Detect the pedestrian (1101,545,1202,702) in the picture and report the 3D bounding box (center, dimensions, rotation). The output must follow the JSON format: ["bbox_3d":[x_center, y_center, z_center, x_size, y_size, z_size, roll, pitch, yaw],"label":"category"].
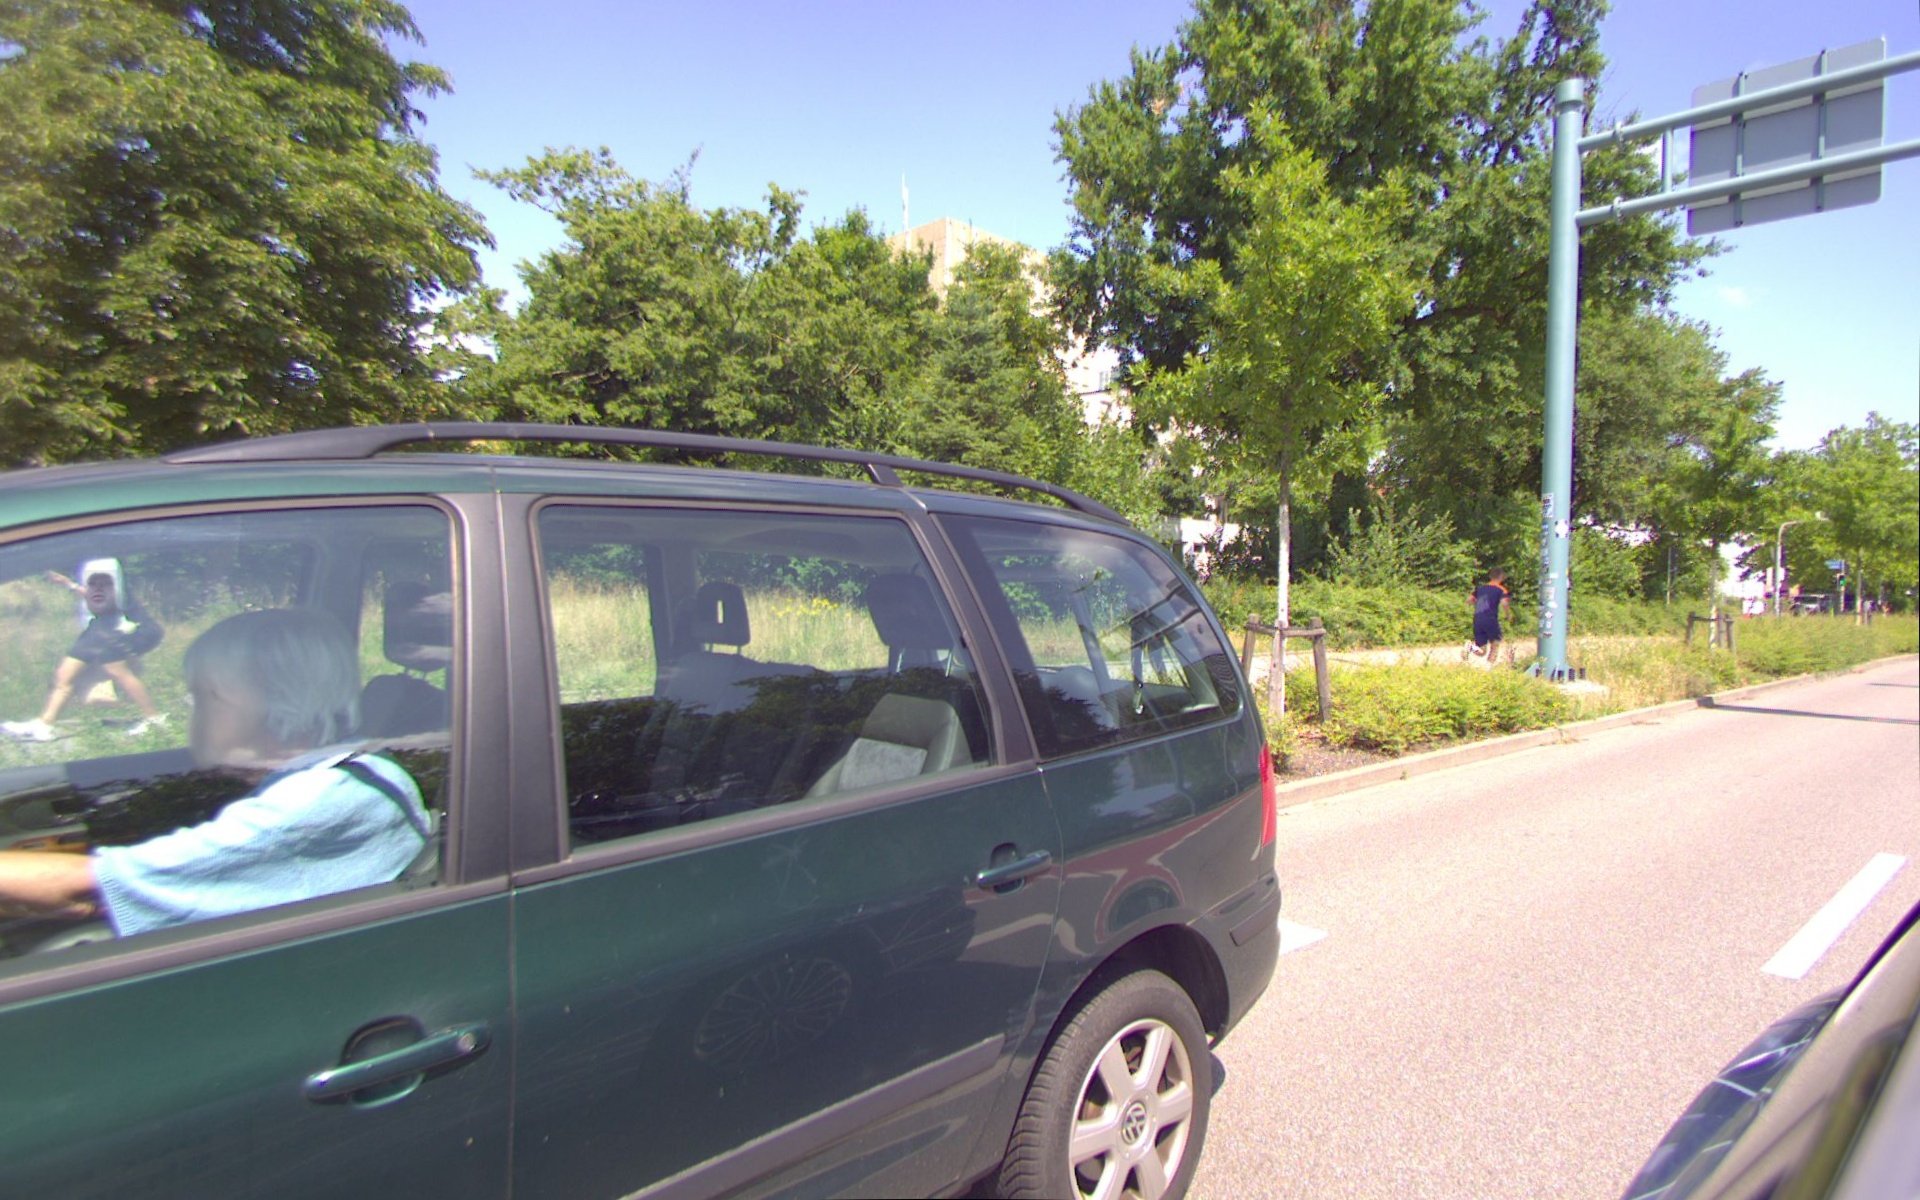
[{"bbox_3d":[2.172,0.246,11.517,0.799,1.705,0.762,1,1,-29],"label":"pedestrian"}]

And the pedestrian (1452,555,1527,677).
[{"bbox_3d":[8.069,0.231,15.424,0.869,1.787,0.640,1,1,-35],"label":"pedestrian"}]

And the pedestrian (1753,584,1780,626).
[{"bbox_3d":[41.017,0.253,51.459,0.837,2.063,0.894,1,0,25],"label":"pedestrian"}]

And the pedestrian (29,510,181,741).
[{"bbox_3d":[-6.271,0.167,7.449,0.802,1.576,0.760,1,1,-40],"label":"pedestrian"}]

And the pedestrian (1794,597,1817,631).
[{"bbox_3d":[41.094,0.660,49.192,0.752,1.630,0.765,1,1,-45],"label":"pedestrian"}]

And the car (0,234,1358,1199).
[{"bbox_3d":[-1.139,0.522,1.978,4.315,1.737,1.804,0,-1,-41],"label":"car"}]
